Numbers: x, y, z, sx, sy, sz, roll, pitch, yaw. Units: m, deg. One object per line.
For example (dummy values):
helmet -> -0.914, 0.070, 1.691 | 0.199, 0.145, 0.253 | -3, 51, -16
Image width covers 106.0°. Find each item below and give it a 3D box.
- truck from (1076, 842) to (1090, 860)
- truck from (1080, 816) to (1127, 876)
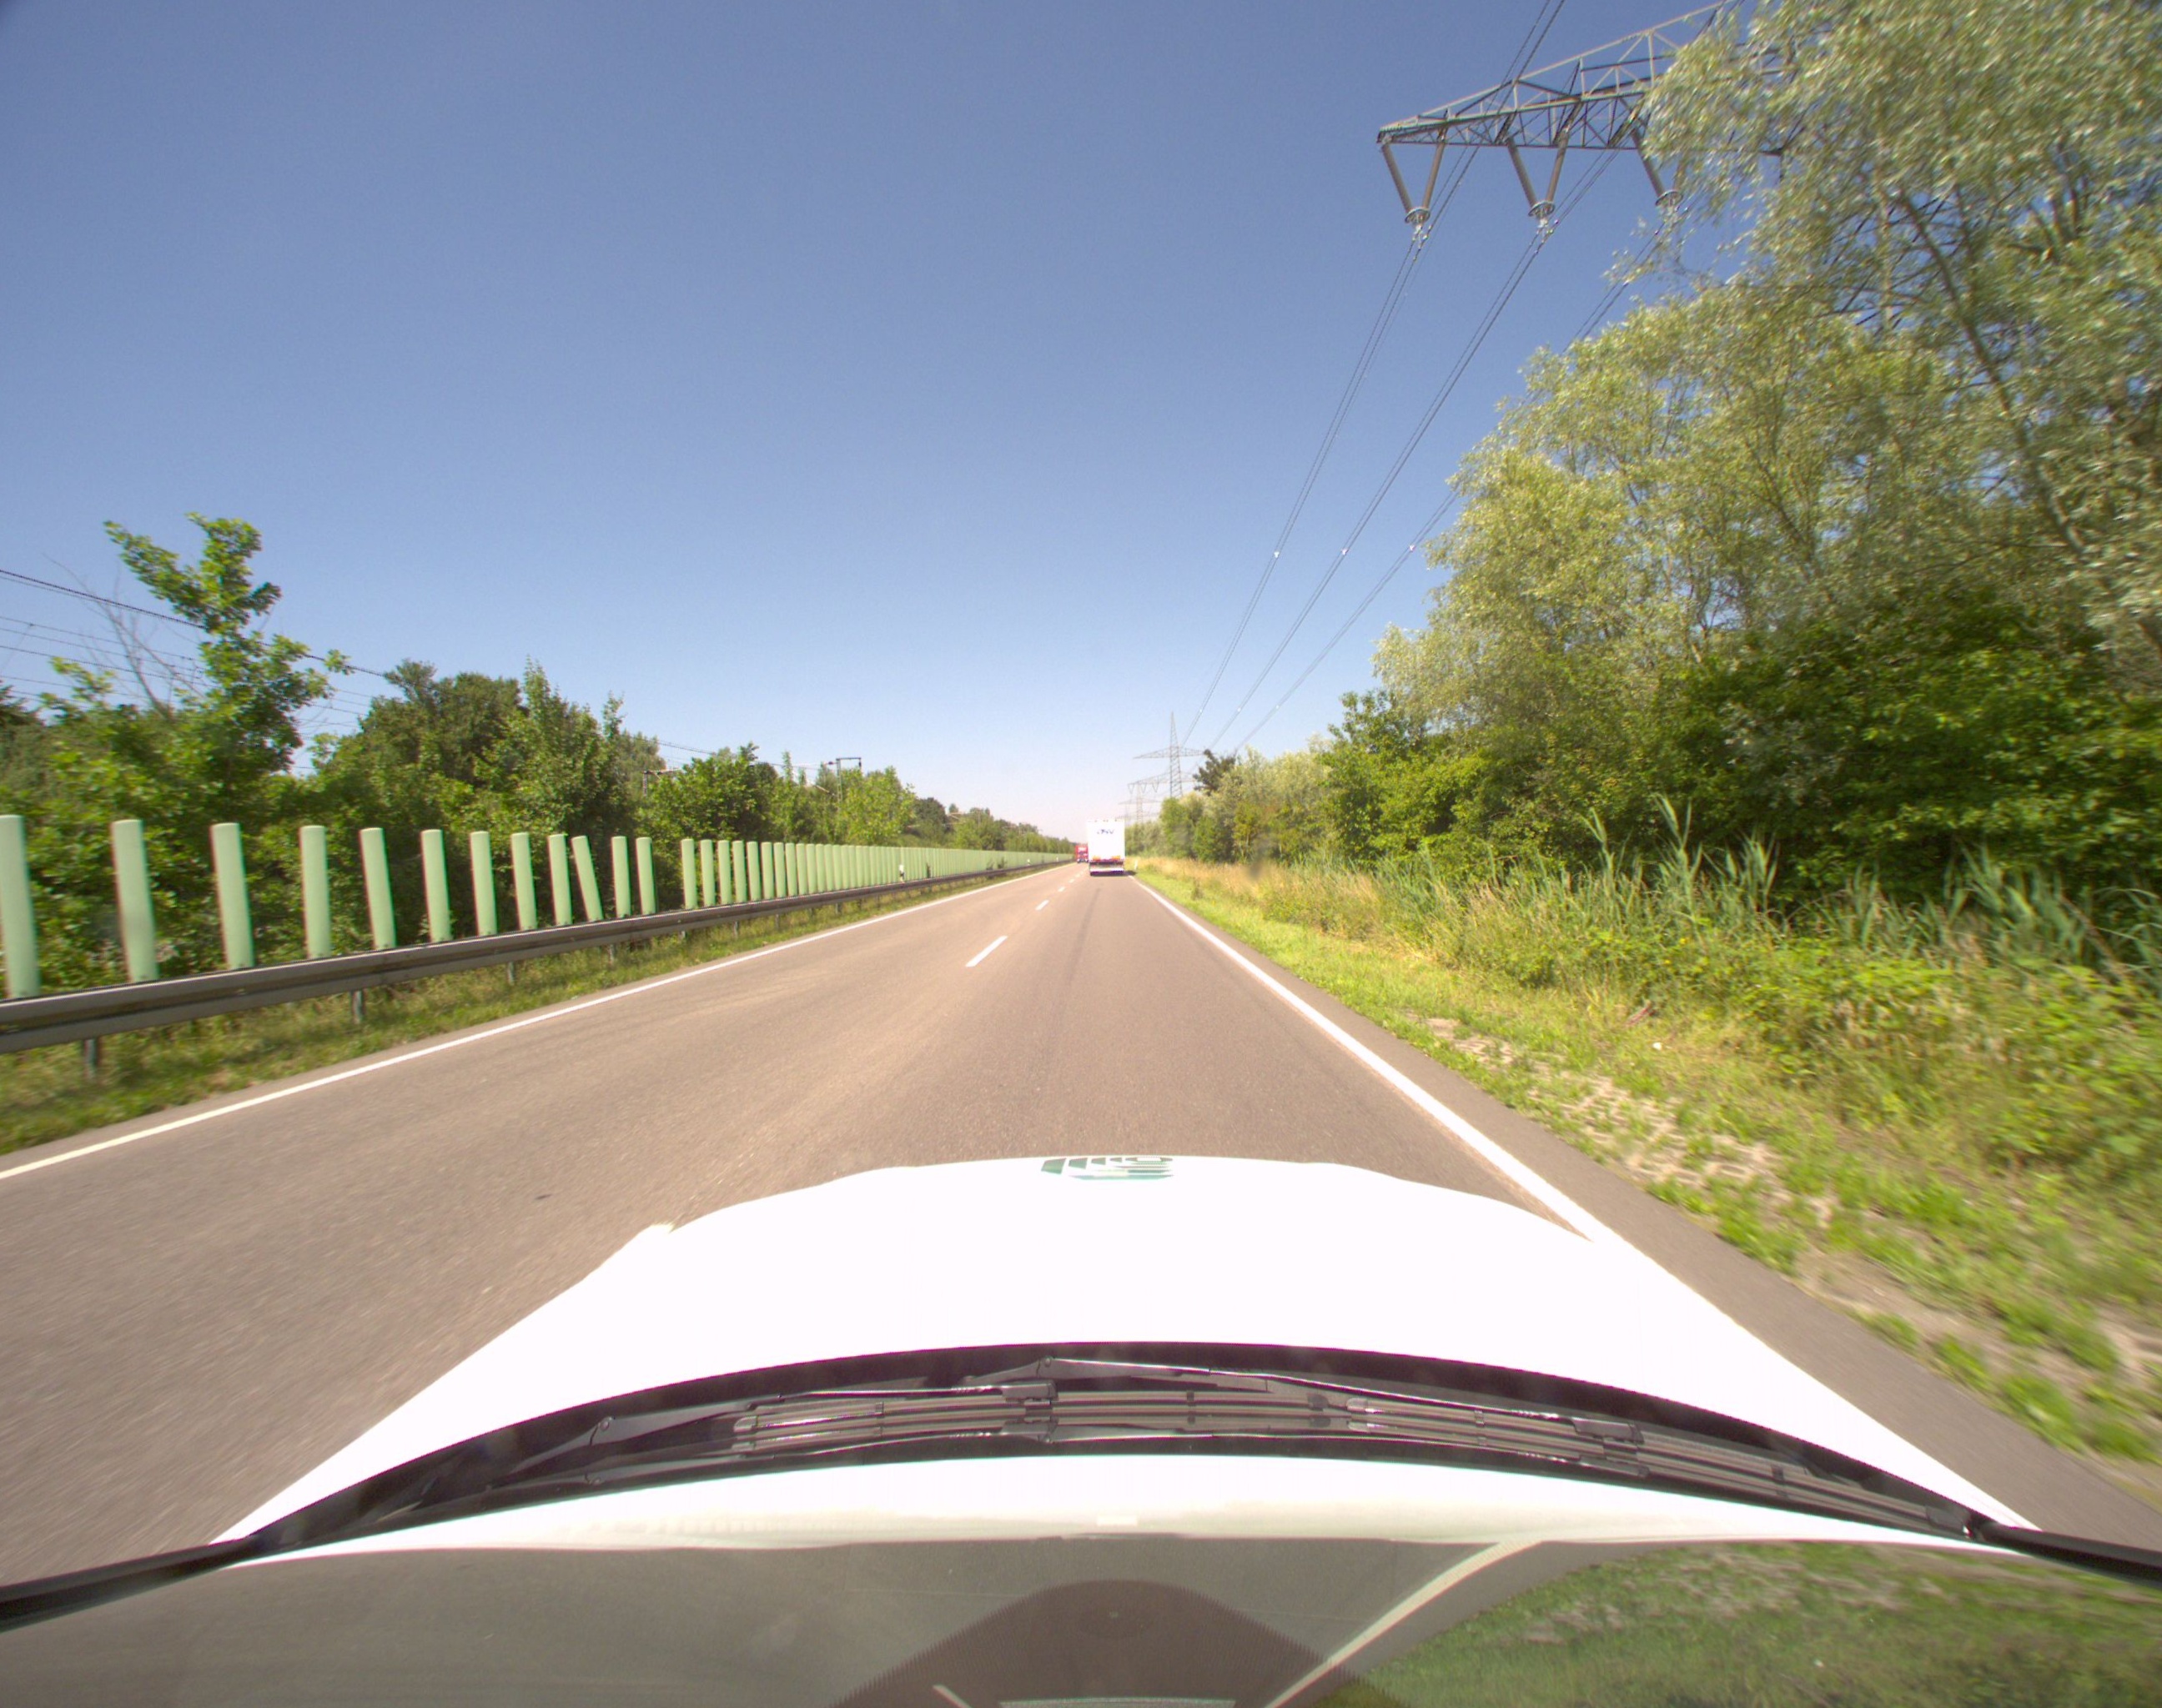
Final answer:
truck -> 0.484, -0.659, 171.045 | 2.724, 3.599, 9.528 | -2, 0, 1
truck -> 1.677, -0.562, 62.743 | 3.181, 4.042, 12.008 | -2, 0, 1
